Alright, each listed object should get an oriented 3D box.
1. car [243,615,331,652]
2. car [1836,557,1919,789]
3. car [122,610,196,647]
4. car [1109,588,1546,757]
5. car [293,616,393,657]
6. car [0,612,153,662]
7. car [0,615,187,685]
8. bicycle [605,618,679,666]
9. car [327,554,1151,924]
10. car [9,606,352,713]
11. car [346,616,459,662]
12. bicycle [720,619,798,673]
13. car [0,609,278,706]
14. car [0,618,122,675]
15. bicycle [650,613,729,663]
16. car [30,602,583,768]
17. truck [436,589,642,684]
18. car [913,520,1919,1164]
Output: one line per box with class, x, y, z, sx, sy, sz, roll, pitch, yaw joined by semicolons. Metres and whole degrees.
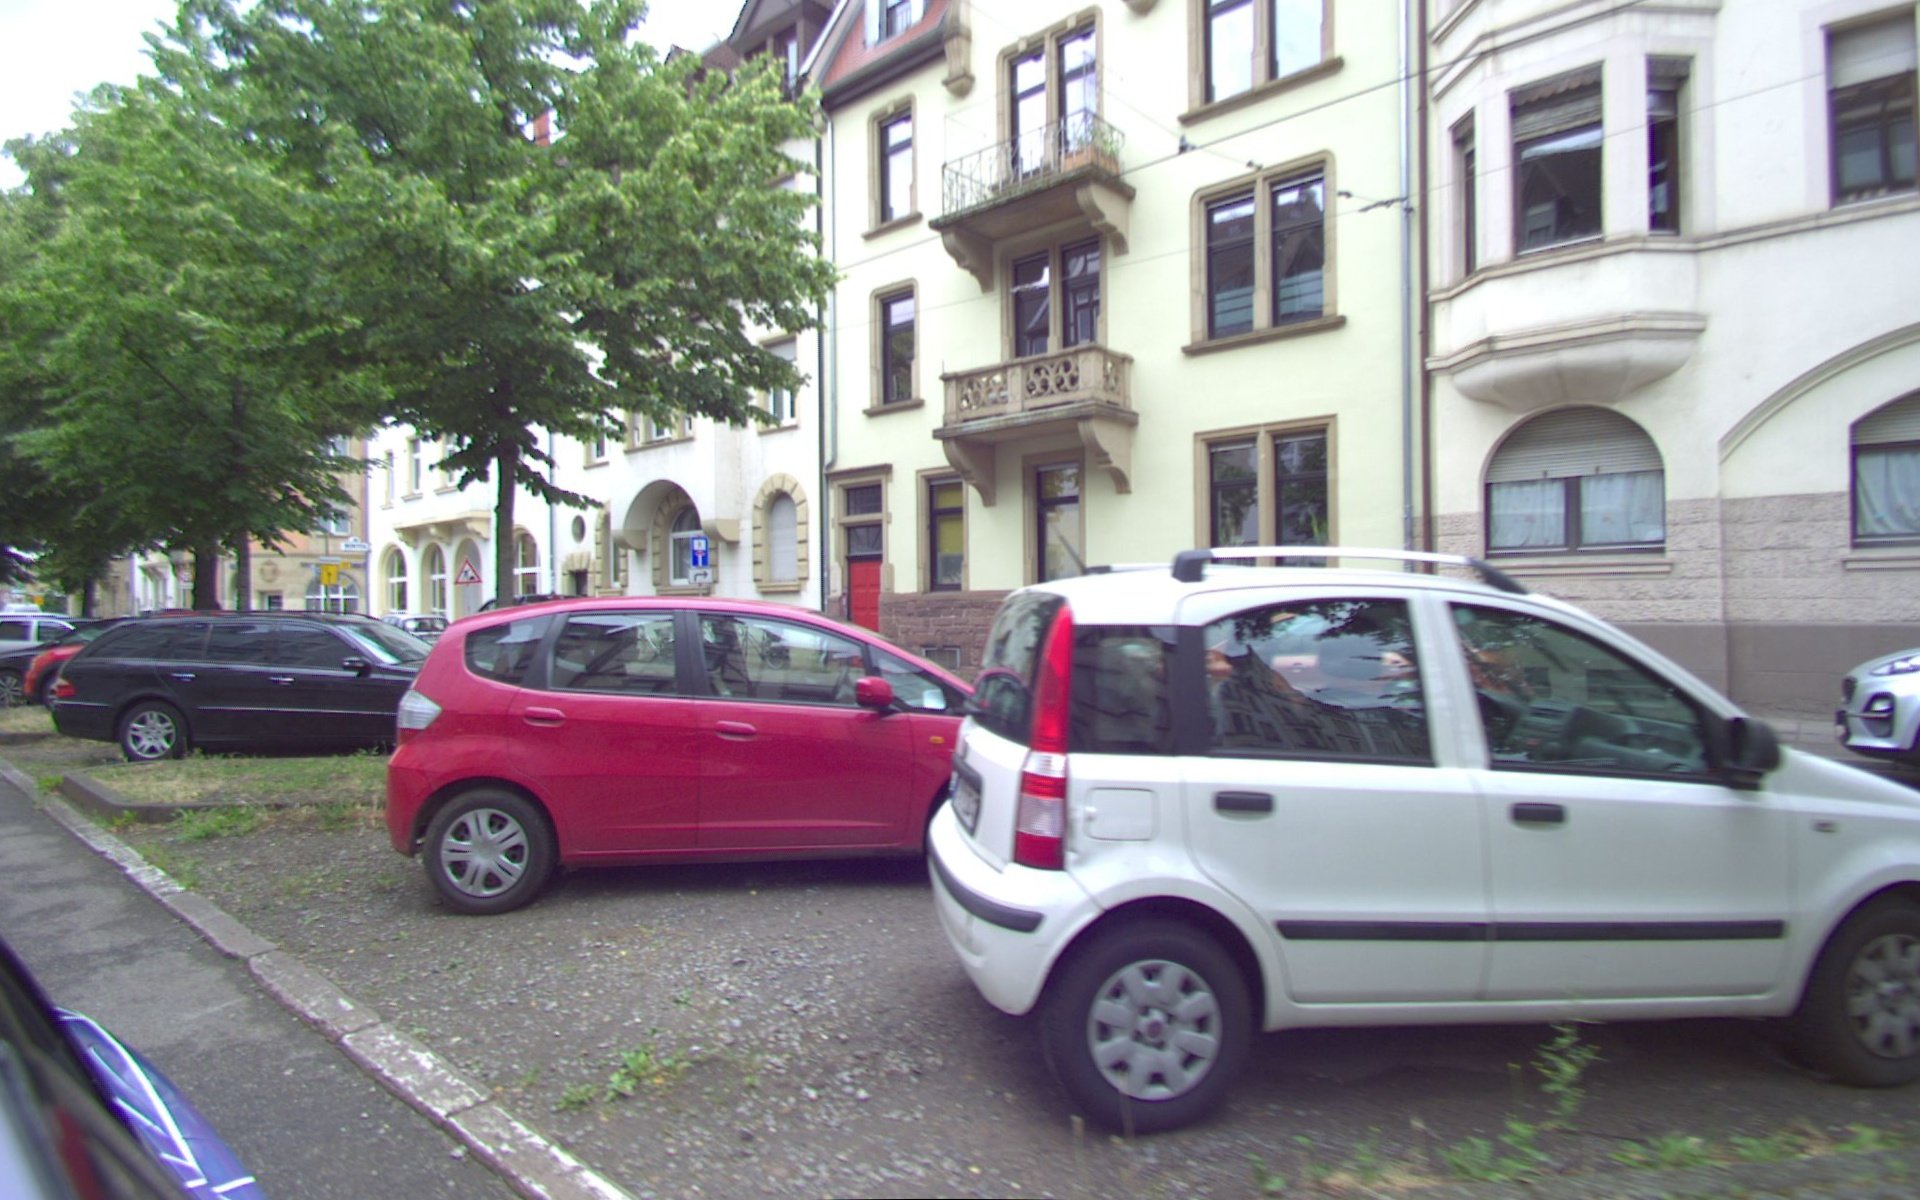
car;-23.431;1.152;35.189;3.377;1.185;1.619;-1;0;39
car;8.943;0.491;6.805;4.488;1.672;1.833;-1;-1;39
car;-37.346;1.317;47.138;4.508;1.617;1.773;-1;0;39
car;3.941;0.690;11.220;4.189;1.534;1.833;-1;-1;39
car;-19.213;1.107;31.495;3.377;1.185;1.619;-1;0;39
car;-27.477;1.128;31.074;3.931;1.426;1.904;0;-2;-28
car;-19.792;1.097;22.311;3.935;1.426;1.902;-1;-2;-11
bicycle;-8.103;1.073;25.740;1.908;1.135;0.607;-2;2;30
car;-1.050;0.619;5.583;3.756;1.538;1.677;-3;1;-4
car;-11.436;0.858;15.089;3.680;1.399;1.792;-1;-2;-5
car;-15.683;1.070;28.424;3.377;1.185;1.619;-1;0;39
bicycle;-4.543;1.011;22.806;1.915;1.135;0.605;-1;2;41
car;-14.246;0.959;17.259;3.939;1.478;1.900;-1;-2;-5
car;-24.952;1.249;26.731;3.935;1.426;1.902;-1;-2;-11
bicycle;-6.530;0.927;24.403;1.908;1.135;0.607;-2;2;30
car;-6.563;0.808;10.613;4.539;1.477;1.887;-1;0;-3
truck;-9.653;0.767;22.886;6.066;1.870;2.121;-1;0;45
car;1.594;0.569;3.446;3.374;1.538;1.693;0;0;-7
